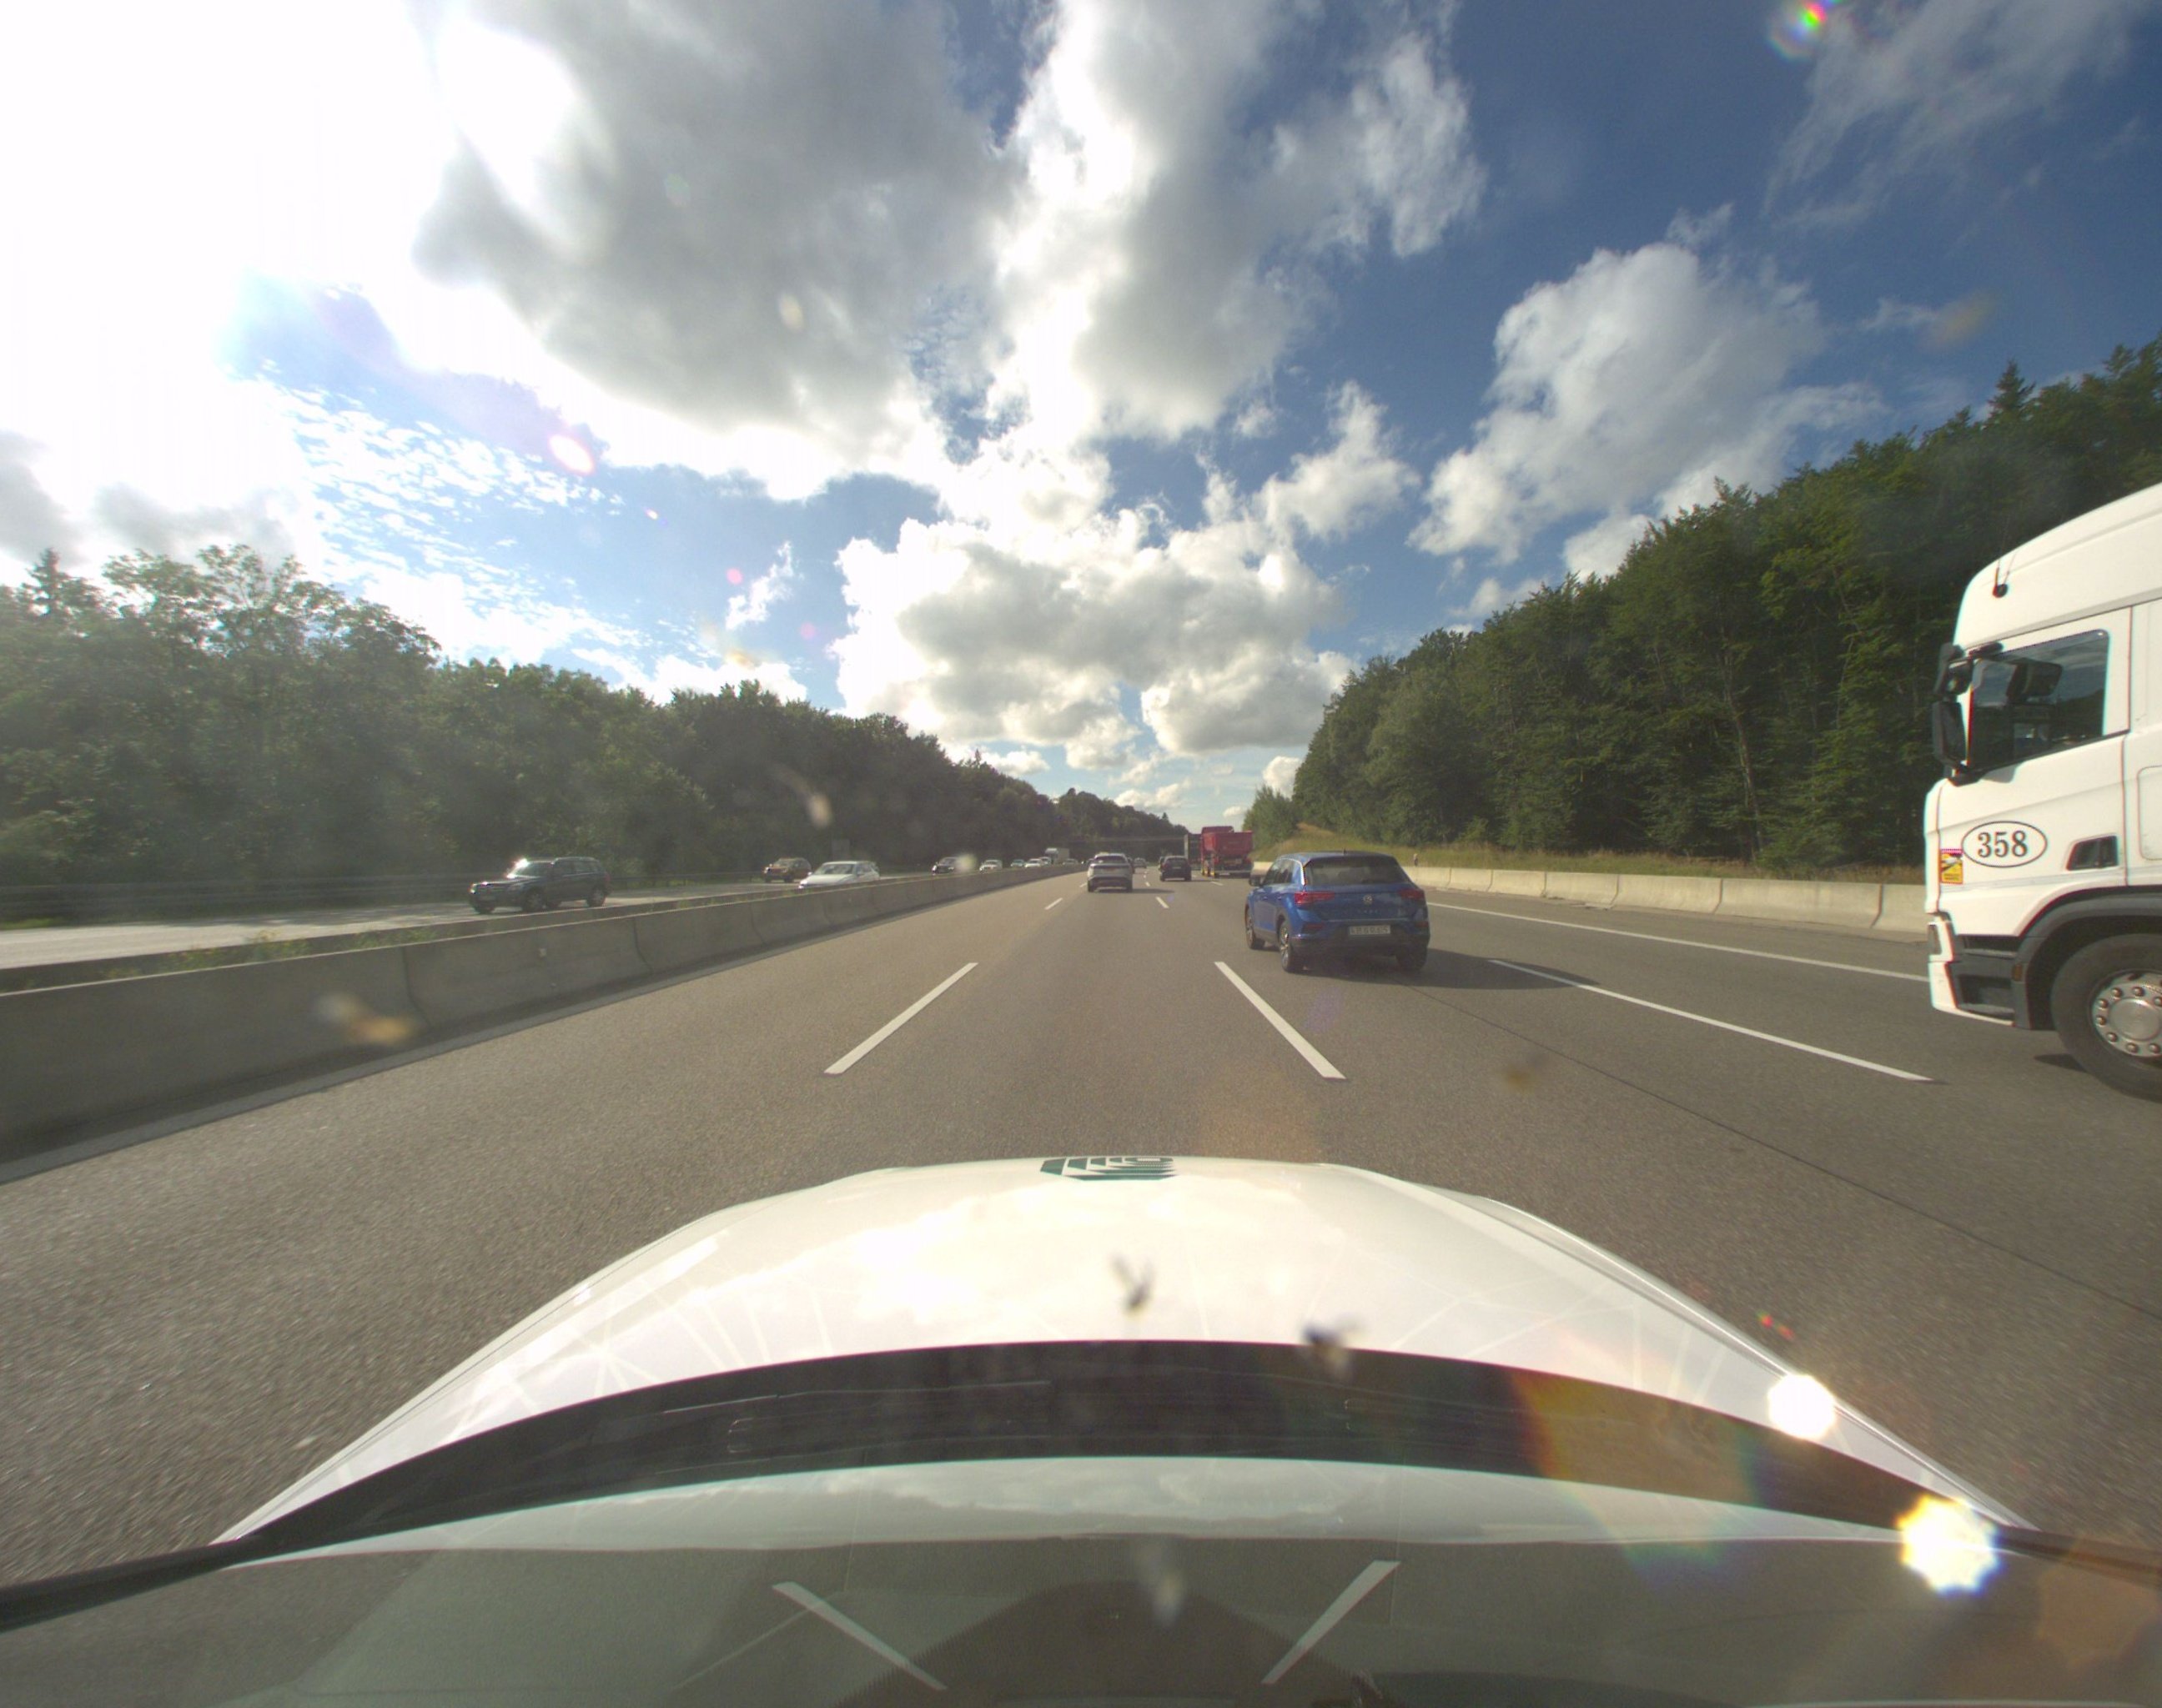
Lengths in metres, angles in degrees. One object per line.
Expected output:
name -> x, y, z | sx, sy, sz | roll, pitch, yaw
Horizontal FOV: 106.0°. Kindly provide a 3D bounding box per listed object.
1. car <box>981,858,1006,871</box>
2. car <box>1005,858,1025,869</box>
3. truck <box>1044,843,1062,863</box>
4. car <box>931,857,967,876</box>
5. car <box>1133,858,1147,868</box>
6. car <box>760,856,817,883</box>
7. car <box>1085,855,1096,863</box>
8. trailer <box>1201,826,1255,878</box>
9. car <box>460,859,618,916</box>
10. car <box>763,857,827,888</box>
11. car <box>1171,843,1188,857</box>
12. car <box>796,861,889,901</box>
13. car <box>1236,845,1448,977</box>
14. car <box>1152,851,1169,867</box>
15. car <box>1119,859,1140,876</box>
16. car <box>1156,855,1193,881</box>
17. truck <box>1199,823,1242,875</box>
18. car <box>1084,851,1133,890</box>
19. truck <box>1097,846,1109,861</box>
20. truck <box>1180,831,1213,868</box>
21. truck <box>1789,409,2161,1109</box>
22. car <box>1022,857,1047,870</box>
car -> -8.939, 1.078, 83.424 | 1.639, 1.200, 4.448 | -1, 0, 6
car -> -9.689, 1.352, 119.797 | 2.062, 1.473, 4.677 | -1, 0, 5
truck -> -5.857, -0.279, 170.190 | 2.692, 4.068, 6.612 | -1, 0, 7
car -> -10.985, 1.007, 68.300 | 1.712, 1.479, 4.639 | -1, 0, 7
car -> 8.496, 1.301, 117.642 | 1.812, 1.457, 4.008 | -1, -1, 7
car -> -19.925, 1.021, 55.674 | 1.919, 1.716, 4.430 | -1, 0, 6
car -> 1.965, 1.010, 165.809 | 1.838, 1.498, 4.136 | 0, -1, 7
trailer -> 10.072, -0.136, 56.538 | 2.697, 3.231, 9.744 | -1, 0, 5
car -> -17.190, 1.003, 26.141 | 1.657, 1.640, 4.489 | -1, 0, 8
car -> -16.981, 1.064, 48.542 | 1.919, 1.716, 4.428 | -1, 0, 5
car -> 12.717, -0.519, 105.502 | 1.885, 1.857, 4.104 | 0, 0, 3
car -> -8.736, 0.932, 30.272 | 1.715, 1.310, 4.886 | -1, 0, 4
car -> 3.485, 0.677, 11.799 | 1.766, 1.530, 4.459 | -1, 0, 2
car -> 9.550, 0.578, 97.761 | 1.885, 1.857, 4.105 | -1, 0, 4
car -> 4.535, 1.202, 75.543 | 1.814, 1.546, 4.004 | 0, 0, 4
car -> 5.640, 0.814, 49.475 | 1.816, 1.457, 3.999 | -1, 0, 0
truck -> 10.454, -0.346, 61.568 | 2.697, 3.718, 5.824 | -1, 0, 4
car -> 1.249, 0.689, 36.329 | 1.998, 1.616, 5.304 | -1, 0, 2
truck -> 6.143, -0.173, 222.334 | 2.763, 3.810, 7.143 | -1, 0, 5
truck -> 13.031, -0.511, 92.594 | 3.103, 3.935, 10.426 | -1, 0, 5
truck -> 7.224, -0.540, 3.733 | 2.640, 3.823, 6.082 | -2, 0, 1
car -> -4.974, 1.010, 88.179 | 1.984, 1.308, 4.839 | -1, 0, 5
